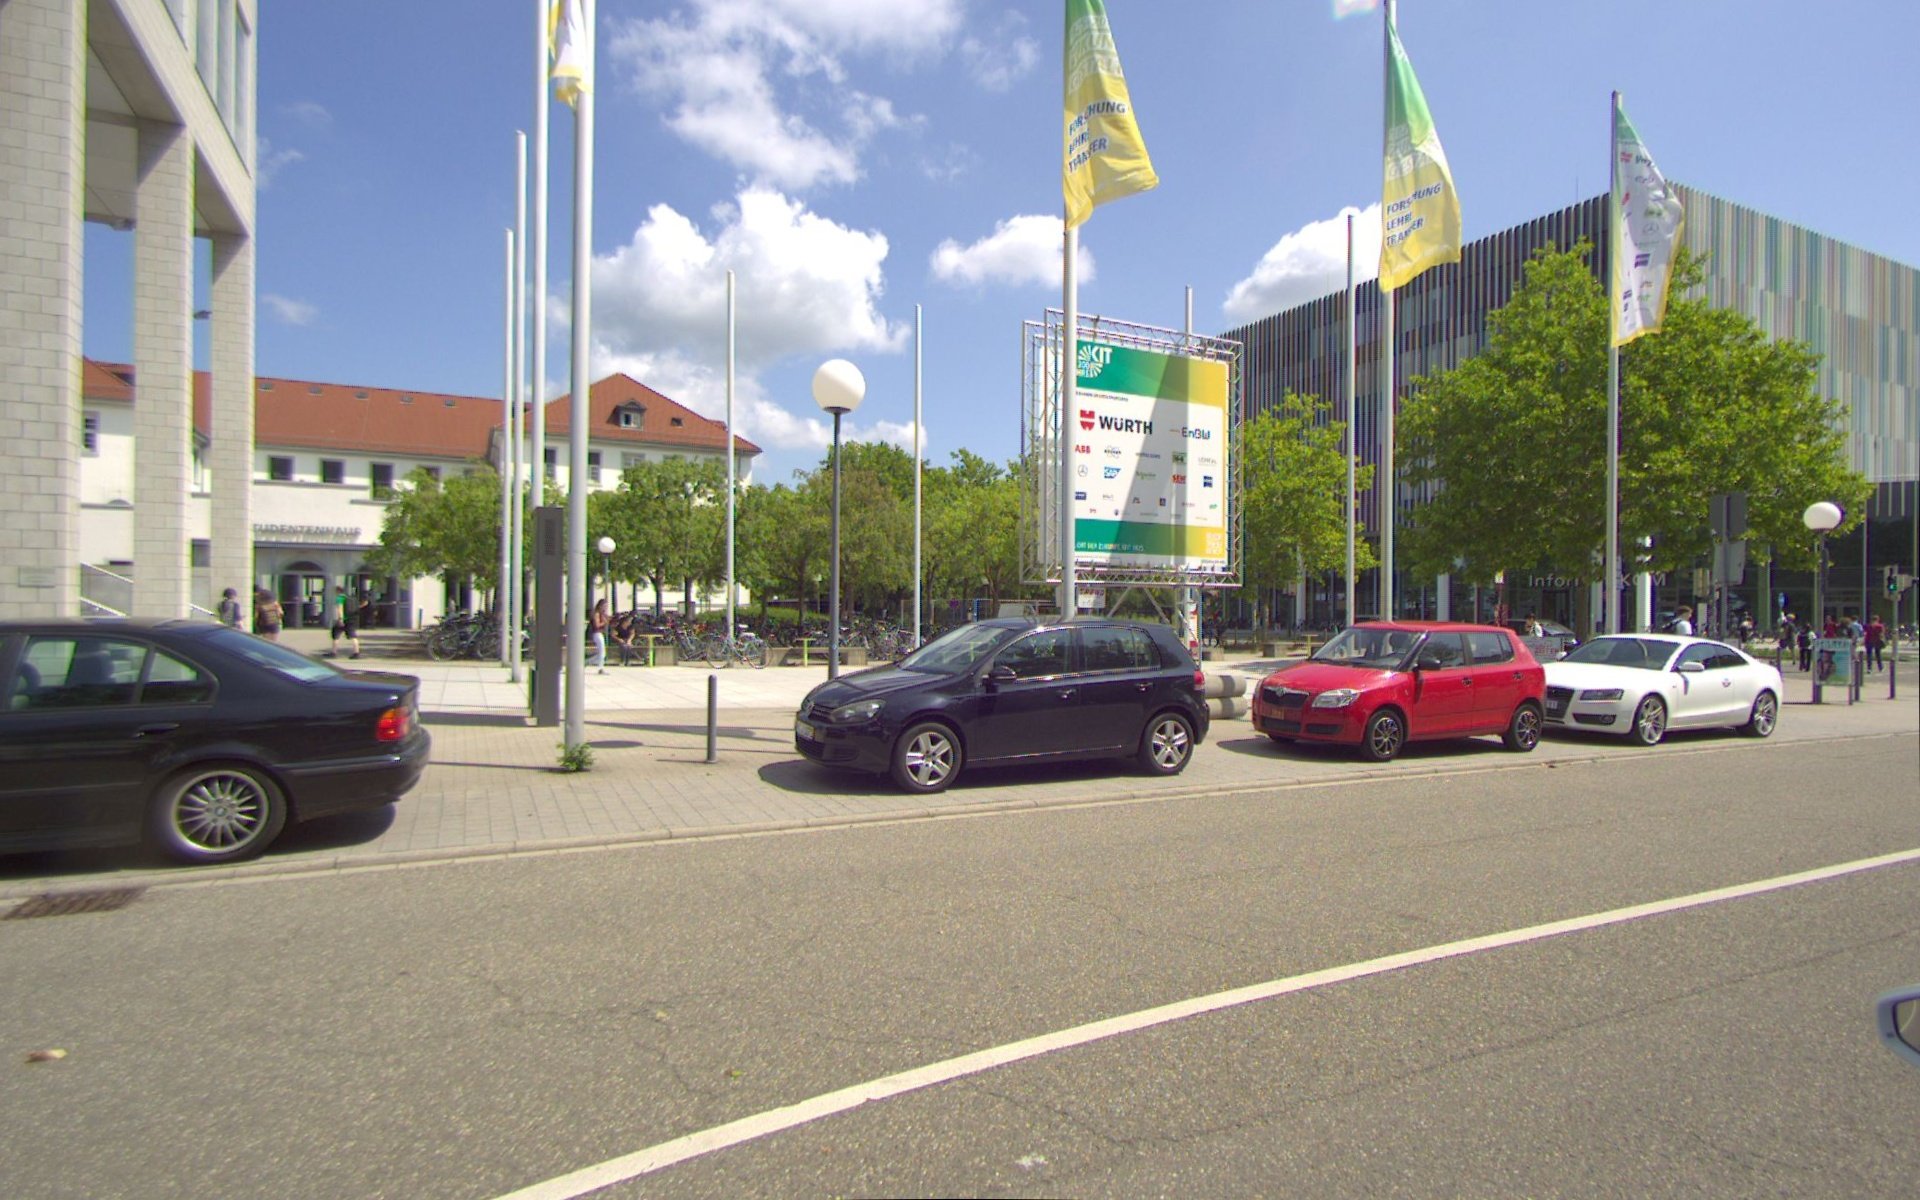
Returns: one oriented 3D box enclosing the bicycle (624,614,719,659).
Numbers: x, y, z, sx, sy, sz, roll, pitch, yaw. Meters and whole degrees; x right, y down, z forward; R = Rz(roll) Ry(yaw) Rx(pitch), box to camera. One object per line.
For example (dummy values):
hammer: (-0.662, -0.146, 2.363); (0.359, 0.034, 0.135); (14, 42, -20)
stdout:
bicycle: (-9.753, 1.227, 34.044); (2.895, 1.430, 1.147); (1, 0, -5)

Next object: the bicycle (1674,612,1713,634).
bicycle: (44.104, 1.369, 60.429); (1.352, 1.254, 2.948); (1, 0, 26)

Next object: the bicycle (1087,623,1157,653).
bicycle: (6.656, 1.543, 41.188); (2.921, 1.163, 0.991); (1, 0, -35)

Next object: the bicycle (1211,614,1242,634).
bicycle: (25.705, 2.304, 96.843); (2.913, 1.863, 0.956); (1, 0, -27)

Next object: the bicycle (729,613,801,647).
bicycle: (-8.512, 1.305, 43.946); (2.914, 1.430, 1.058); (1, 0, -28)

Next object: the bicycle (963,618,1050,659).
bicycle: (1.662, 1.367, 35.834); (2.908, 1.430, 1.012); (1, 0, -22)

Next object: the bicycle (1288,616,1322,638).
bicycle: (30.056, 2.333, 87.527); (2.912, 1.863, 0.956); (1, 0, -26)

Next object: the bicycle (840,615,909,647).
bicycle: (-3.860, 1.401, 45.467); (2.908, 1.430, 1.060); (1, 0, -22)

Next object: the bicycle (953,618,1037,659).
bicycle: (1.276, 1.418, 36.828); (2.908, 1.430, 1.060); (1, 0, -22)

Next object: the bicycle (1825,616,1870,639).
bicycle: (50.947, 1.575, 57.711); (1.178, 1.254, 2.948); (1, 0, 26)

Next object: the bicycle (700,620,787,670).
bicycle: (-5.537, 1.133, 25.745); (2.067, 1.232, 0.647); (1, 0, -27)

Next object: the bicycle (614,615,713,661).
bicycle: (-9.648, 1.223, 32.840); (2.895, 1.430, 1.147); (1, 0, -5)

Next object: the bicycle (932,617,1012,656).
bicycle: (0.451, 1.412, 38.880); (2.908, 1.430, 1.060); (1, 0, -22)

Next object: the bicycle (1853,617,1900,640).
bicycle: (52.081, 1.611, 57.135); (1.178, 1.254, 2.948); (1, 0, 26)

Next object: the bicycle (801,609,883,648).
bicycle: (-4.488, 1.076, 38.150); (2.905, 1.430, 1.061); (1, 0, -19)

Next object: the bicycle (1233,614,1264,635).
bicycle: (27.021, 2.314, 94.203); (2.913, 1.863, 0.956); (1, 0, -27)

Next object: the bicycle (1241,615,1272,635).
bicycle: (27.500, 2.317, 93.159); (2.913, 1.863, 0.956); (1, 0, -27)

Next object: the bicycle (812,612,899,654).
bicycle: (-3.738, 1.179, 35.880); (2.905, 1.430, 1.061); (1, 0, -19)

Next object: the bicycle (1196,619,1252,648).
bicycle: (10.949, 1.384, 41.834); (0.657, 1.128, 2.598); (1, 0, -28)

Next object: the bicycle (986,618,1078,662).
bicycle: (2.427, 1.347, 33.830); (2.908, 1.435, 1.012); (1, 0, -22)

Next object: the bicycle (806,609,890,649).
bicycle: (-4.141, 1.077, 37.068); (2.905, 1.430, 1.061); (1, 0, -19)

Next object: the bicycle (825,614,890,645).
bicycle: (-4.875, 1.395, 47.784); (2.908, 1.430, 1.060); (1, 0, -22)

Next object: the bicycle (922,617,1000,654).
bicycle: (0.027, 1.404, 39.947); (2.908, 1.430, 1.060); (1, 0, -22)

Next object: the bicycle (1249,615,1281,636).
bicycle: (27.974, 2.320, 92.192); (2.913, 1.863, 0.956); (1, 0, -27)

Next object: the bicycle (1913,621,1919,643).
bicycle: (54.290, 1.806, 55.506); (1.177, 1.254, 2.952); (1, 0, 18)

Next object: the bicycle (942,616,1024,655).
bicycle: (0.857, 1.344, 37.845); (2.908, 1.430, 1.060); (1, 0, -22)

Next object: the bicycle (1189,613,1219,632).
bicycle: (24.258, 2.259, 99.782); (2.913, 1.863, 0.956); (1, 0, -27)

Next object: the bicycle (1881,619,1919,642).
bicycle: (53.144, 1.701, 56.506); (1.178, 1.254, 2.948); (1, 0, 26)

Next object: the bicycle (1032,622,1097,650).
bicycle: (4.634, 1.590, 44.250); (2.922, 1.165, 0.991); (1, 0, -35)

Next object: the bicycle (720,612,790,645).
bicycle: (-9.241, 1.299, 45.352); (2.914, 1.430, 1.058); (1, 0, -28)

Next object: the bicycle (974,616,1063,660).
bicycle: (2.034, 1.313, 34.803); (2.908, 1.430, 1.012); (1, 0, -22)

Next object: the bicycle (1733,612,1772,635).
bicycle: (46.725, 1.371, 59.257); (1.178, 1.254, 2.948); (1, 0, 26)

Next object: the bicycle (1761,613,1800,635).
bicycle: (47.888, 1.391, 58.660); (1.179, 1.254, 2.947); (1, 0, 28)

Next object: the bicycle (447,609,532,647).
bicycle: (-18.538, 1.095, 39.691); (2.905, 1.430, 1.143); (1, 0, -19)

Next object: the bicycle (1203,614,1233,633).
bicycle: (25.182, 2.300, 97.899); (2.913, 1.863, 0.956); (1, 0, -27)

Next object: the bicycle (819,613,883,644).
bicycle: (-5.297, 1.393, 48.943); (2.908, 1.430, 1.060); (1, 0, -22)

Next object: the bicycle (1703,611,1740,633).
bicycle: (45.305, 1.322, 59.783); (1.178, 1.254, 2.948); (1, 0, 26)

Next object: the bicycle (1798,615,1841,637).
bicycle: (49.819, 1.500, 58.262); (1.178, 1.254, 2.948); (1, 0, 26)

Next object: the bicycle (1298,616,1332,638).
bicycle: (30.547, 2.337, 86.477); (2.911, 1.863, 0.956); (1, 0, -25)

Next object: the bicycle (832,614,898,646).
bicycle: (-4.413, 1.397, 46.675); (2.908, 1.430, 1.060); (1, 0, -22)

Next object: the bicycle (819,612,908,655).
bicycle: (-3.333, 1.153, 34.764); (2.905, 1.430, 1.061); (1, 0, -19)

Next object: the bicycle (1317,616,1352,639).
bicycle: (31.461, 2.342, 84.365); (2.910, 1.863, 0.957); (1, 0, -25)

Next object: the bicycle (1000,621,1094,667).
bicycle: (2.833, 1.439, 32.807); (2.908, 1.438, 1.012); (1, 0, -22)

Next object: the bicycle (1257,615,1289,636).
bicycle: (28.428, 2.323, 91.217); (2.913, 1.863, 0.982); (1, 0, -27)

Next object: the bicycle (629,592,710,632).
bicycle: (-10.960, 0.459, 37.969); (2.903, 1.430, 1.062); (1, 0, -16)

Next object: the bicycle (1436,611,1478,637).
bicycle: (36.853, 1.757, 74.486); (2.904, 1.863, 1.014); (1, 0, -17)

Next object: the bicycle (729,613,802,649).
bicycle: (-8.088, 1.302, 41.957); (2.897, 1.430, 1.064); (1, 0, -8)

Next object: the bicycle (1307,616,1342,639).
bicycle: (31.017, 2.340, 85.445); (2.911, 1.863, 0.956); (1, 0, -25)
